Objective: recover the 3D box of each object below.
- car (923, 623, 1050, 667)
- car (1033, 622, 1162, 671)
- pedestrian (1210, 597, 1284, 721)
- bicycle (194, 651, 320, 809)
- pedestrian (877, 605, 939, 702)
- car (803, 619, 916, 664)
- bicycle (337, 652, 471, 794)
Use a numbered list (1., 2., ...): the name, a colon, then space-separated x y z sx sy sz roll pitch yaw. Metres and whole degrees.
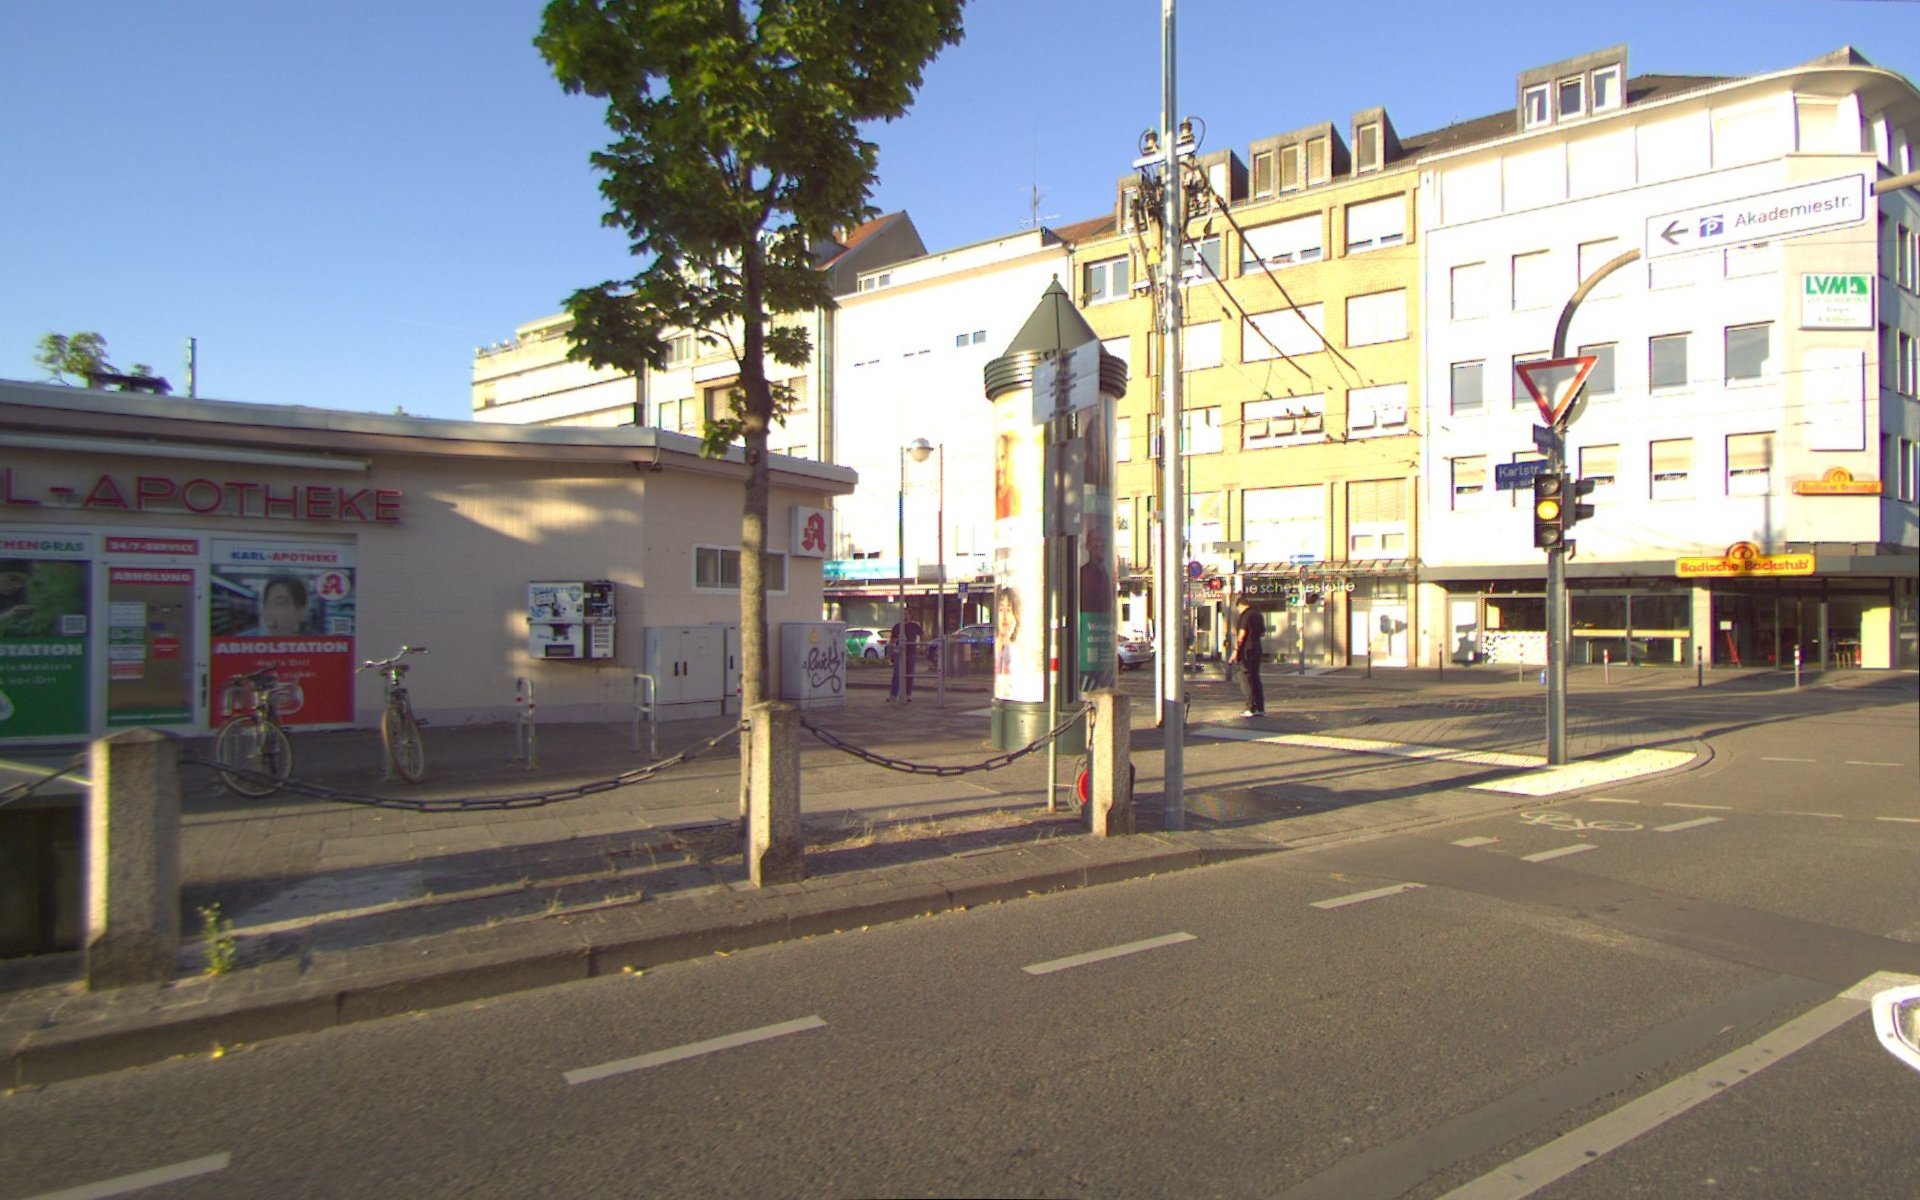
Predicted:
1. car: 0.969 1.657 38.025 4.537 1.495 2.040 -1 -1 38
2. car: 4.816 1.588 35.513 4.235 1.596 1.792 -1 -1 39
3. pedestrian: 4.402 0.879 15.382 0.890 1.808 0.880 1 0 28
4. bicycle: -6.101 1.033 8.665 0.772 1.102 2.198 2 -1 -37
5. pedestrian: -0.945 0.948 18.286 0.764 1.698 0.906 1 0 24
6. car: -4.213 1.665 41.850 4.537 1.759 2.041 -1 -1 38
7. bicycle: -5.224 1.064 9.357 0.772 1.102 2.174 2 -2 -37
